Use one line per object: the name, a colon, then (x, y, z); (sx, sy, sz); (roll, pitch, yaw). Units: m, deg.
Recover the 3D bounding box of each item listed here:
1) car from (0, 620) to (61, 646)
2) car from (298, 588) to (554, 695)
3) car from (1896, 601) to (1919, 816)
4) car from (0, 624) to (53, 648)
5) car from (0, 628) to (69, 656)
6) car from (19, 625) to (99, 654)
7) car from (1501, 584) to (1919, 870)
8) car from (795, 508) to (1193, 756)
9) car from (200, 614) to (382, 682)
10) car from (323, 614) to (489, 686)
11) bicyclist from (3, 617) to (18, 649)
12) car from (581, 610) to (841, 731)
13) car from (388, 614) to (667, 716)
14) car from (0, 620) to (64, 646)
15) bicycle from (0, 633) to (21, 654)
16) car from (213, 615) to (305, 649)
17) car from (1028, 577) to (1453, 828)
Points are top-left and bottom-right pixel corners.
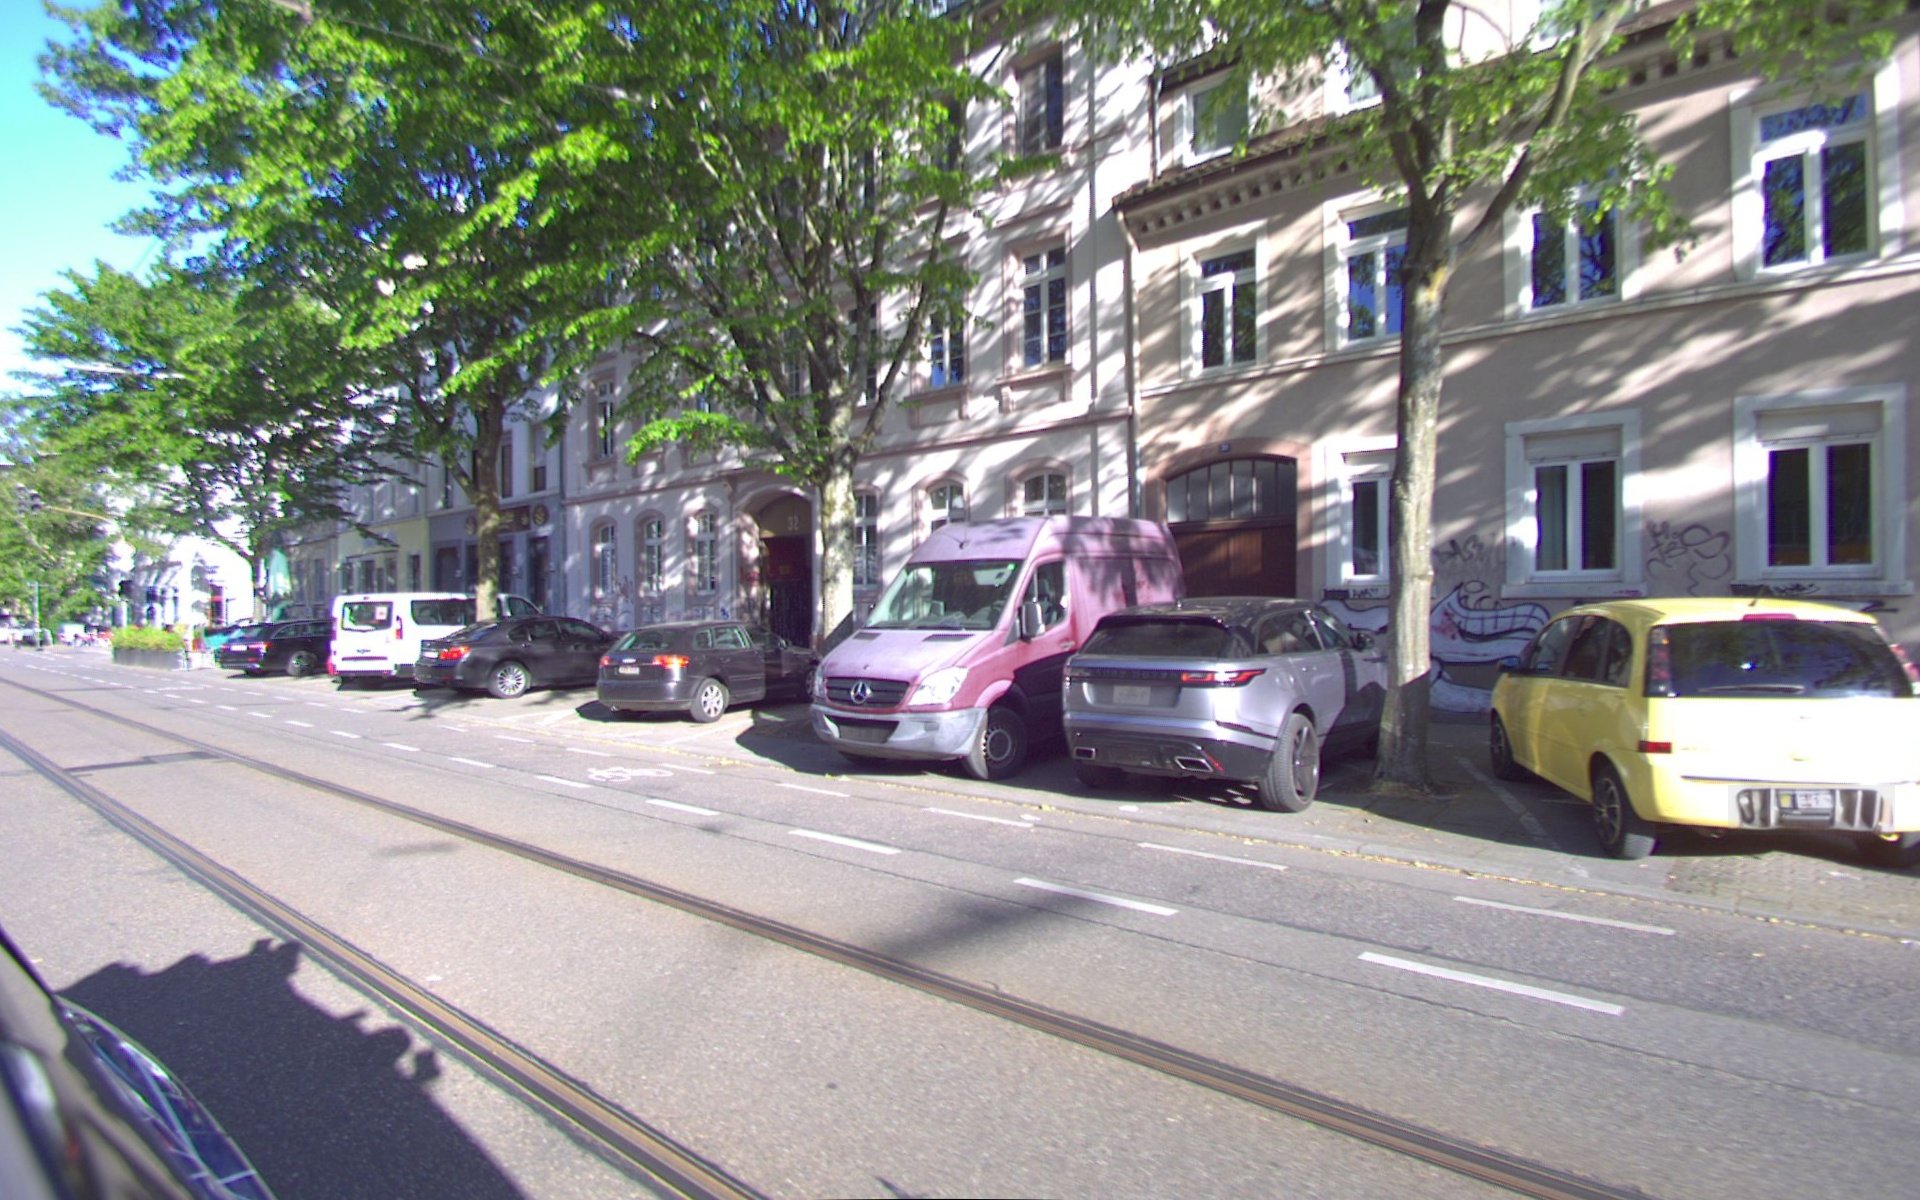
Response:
car: (-56.787, 1.989, 61.326); (1.496, 1.464, 3.292); (1, 1, 43)
car: (-11.335, 0.837, 21.966); (2.058, 2.029, 4.912); (-1, -1, 18)
car: (7.533, 0.741, 5.382); (1.683, 1.564, 4.159); (0, -1, 9)
car: (-61.371, 2.342, 65.925); (1.496, 1.464, 3.292); (1, 1, 43)
car: (-54.699, 2.443, 59.553); (1.496, 1.464, 3.293); (1, 1, 42)
car: (-50.467, 2.187, 56.709); (3.289, 1.464, 1.498); (-1, 1, -42)
car: (5.152, 0.723, 7.311); (1.371, 1.565, 3.359); (-1, -1, 14)
car: (0.573, 0.282, 11.116); (2.161, 2.134, 4.393); (-1, -1, 39)
car: (-17.696, 1.220, 27.001); (1.763, 1.570, 3.986); (-1, 1, 11)
car: (-13.228, 1.155, 24.360); (1.485, 1.464, 3.319); (-3, 0, 19)
bicyclist: (-45.167, 1.559, 48.143); (0.589, 1.482, 0.414); (-1, -2, 36)
car: (-3.631, 0.963, 15.521); (1.662, 1.464, 4.064); (-1, 1, 26)
car: (-8.275, 1.167, 19.767); (1.951, 1.588, 4.652); (-2, 0, 37)
car: (-58.300, 2.061, 63.305); (1.496, 1.464, 3.292); (1, 1, 43)
bicycle: (-45.154, 2.064, 48.113); (1.755, 0.943, 0.445); (-1, -2, 38)
car: (-37.453, 1.688, 54.083); (3.934, 1.763, 2.004); (1, -2, -37)
car: (2.900, 0.728, 9.589); (2.161, 1.737, 4.781); (-1, -1, 39)
